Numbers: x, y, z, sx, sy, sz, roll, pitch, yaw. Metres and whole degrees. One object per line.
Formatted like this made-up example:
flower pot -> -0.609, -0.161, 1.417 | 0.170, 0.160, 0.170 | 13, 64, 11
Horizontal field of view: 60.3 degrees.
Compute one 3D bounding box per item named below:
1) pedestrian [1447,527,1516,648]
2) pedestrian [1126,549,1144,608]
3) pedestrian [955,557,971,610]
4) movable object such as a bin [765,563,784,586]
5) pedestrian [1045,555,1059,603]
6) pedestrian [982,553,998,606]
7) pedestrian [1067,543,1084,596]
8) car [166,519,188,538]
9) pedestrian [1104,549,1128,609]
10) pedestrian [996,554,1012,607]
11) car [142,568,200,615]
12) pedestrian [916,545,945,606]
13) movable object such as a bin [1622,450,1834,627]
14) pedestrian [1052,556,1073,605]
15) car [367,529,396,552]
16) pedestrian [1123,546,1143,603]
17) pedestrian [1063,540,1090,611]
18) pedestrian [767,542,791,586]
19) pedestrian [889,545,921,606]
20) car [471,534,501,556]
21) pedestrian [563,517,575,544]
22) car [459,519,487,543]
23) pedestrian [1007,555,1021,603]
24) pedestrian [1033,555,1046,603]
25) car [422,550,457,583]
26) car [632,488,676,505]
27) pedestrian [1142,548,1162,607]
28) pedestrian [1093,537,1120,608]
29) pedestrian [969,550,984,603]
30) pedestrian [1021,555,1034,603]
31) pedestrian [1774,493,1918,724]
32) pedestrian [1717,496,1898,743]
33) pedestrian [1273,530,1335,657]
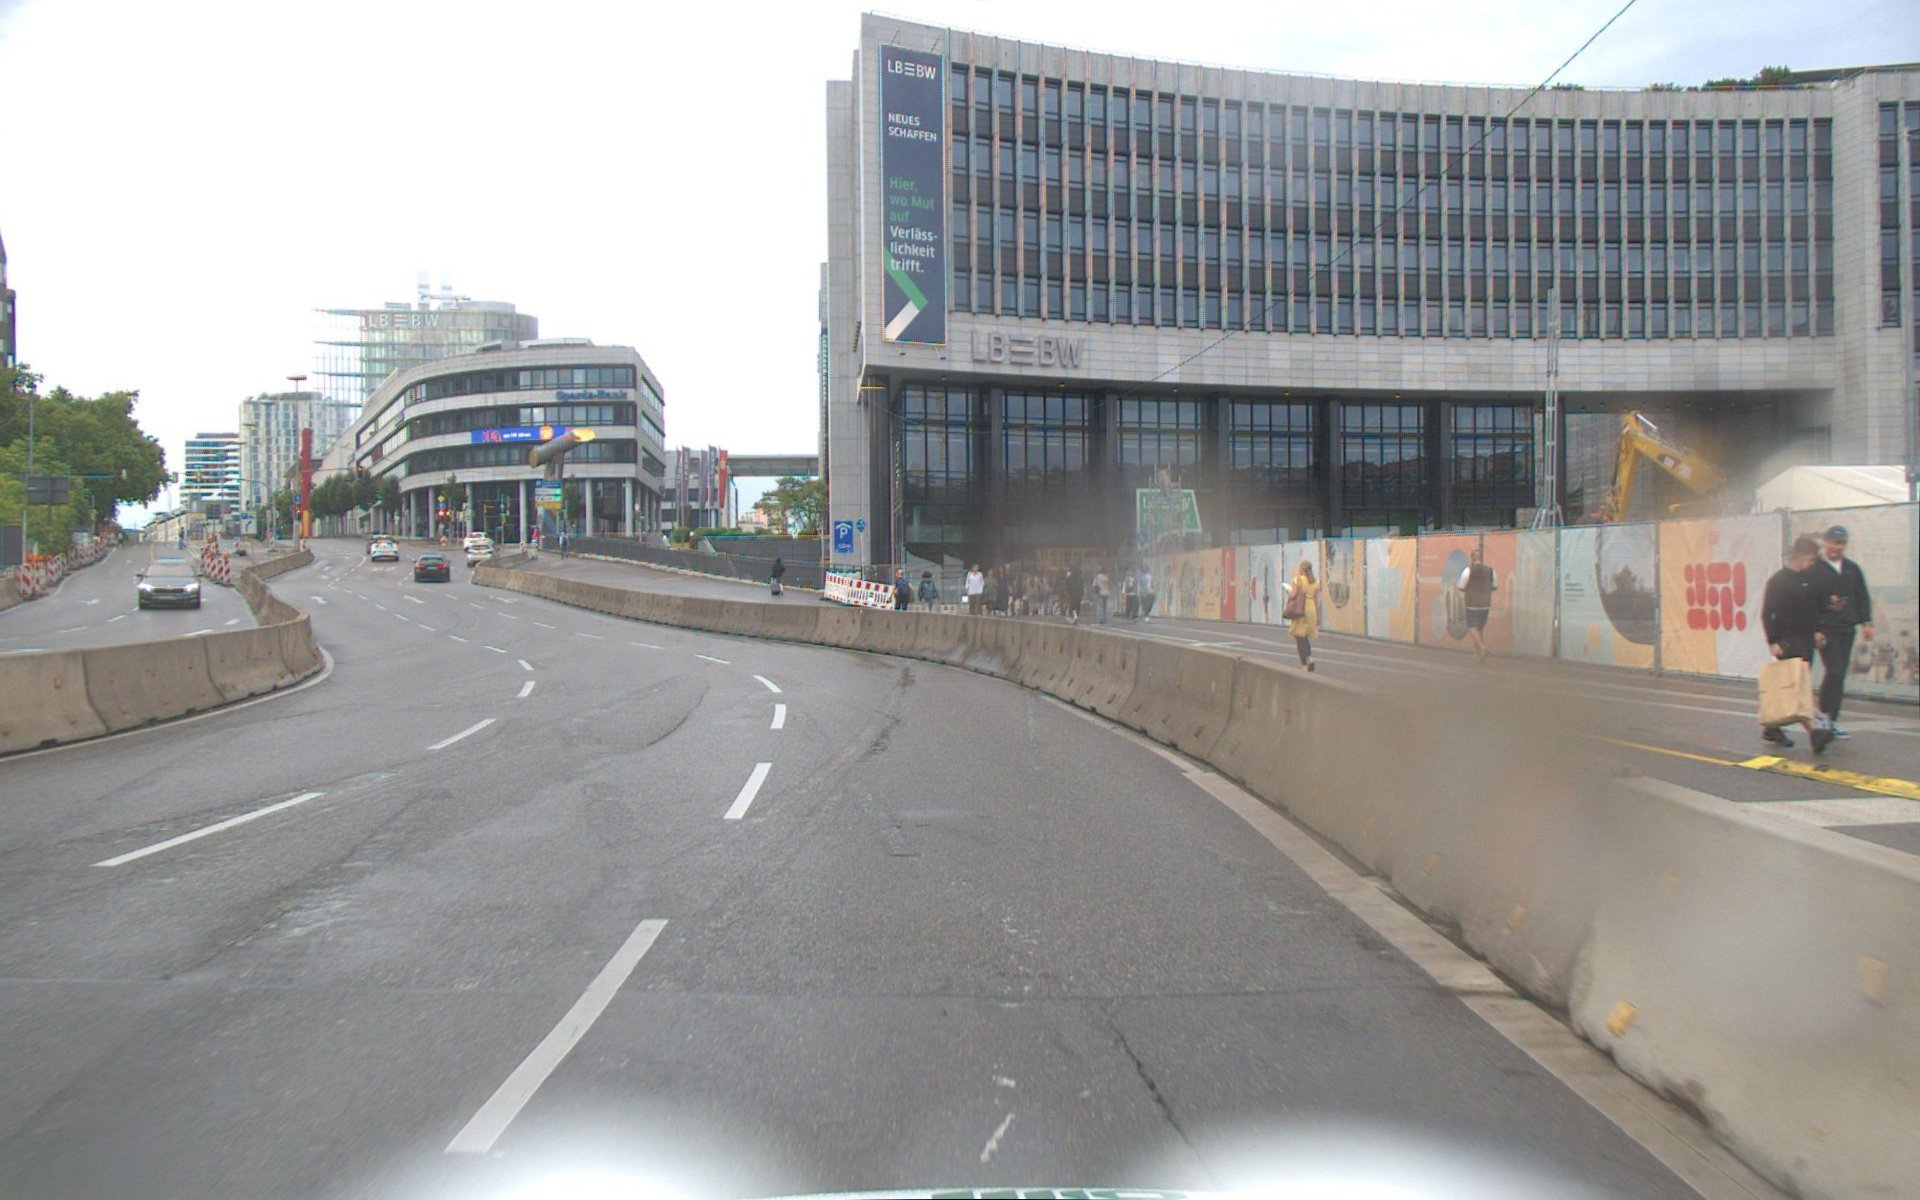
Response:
pedestrian -> 8.391, -0.213, 26.630 | 0.764, 1.894, 0.810 | -2, 1, -6
pedestrian -> 5.140, -0.635, 48.627 | 0.439, 1.734, 0.646 | 0, 2, -3
pedestrian -> 0.086, -0.549, 54.397 | 0.439, 1.734, 0.646 | -1, 2, -7
movable object such as a bin -> -7.821, -1.080, 69.656 | 0.590, 0.950, 0.737 | 0, 1, -23
pedestrian -> 3.327, -0.760, 59.869 | 0.438, 1.734, 0.647 | 0, 2, 7
pedestrian -> 0.985, -0.699, 54.659 | 0.445, 1.734, 0.646 | -1, 2, -7
pedestrian -> 3.995, -1.066, 57.375 | 0.518, 1.850, 0.536 | 0, 1, -2
car -> -67.615, -6.132, 142.870 | 1.580, 1.376, 3.727 | 0, -1, -23
pedestrian -> 4.588, -0.620, 48.614 | 0.613, 1.734, 0.646 | 0, 2, -3
pedestrian -> 1.447, -0.637, 54.770 | 0.439, 1.734, 0.646 | -1, 2, -7
car -> -25.174, -0.237, 52.750 | 1.583, 1.376, 3.720 | 0, -1, -27
pedestrian -> -0.823, -0.689, 45.874 | 0.647, 1.670, 0.820 | -1, 1, -14
movable object such as a bin -> 18.807, -1.460, 40.634 | 3.048, 4.100, 3.668 | -1, 1, -25
pedestrian -> 3.633, -0.708, 58.819 | 0.508, 1.734, 0.566 | -2, 2, -39
car -> -39.291, -4.023, 112.288 | 1.717, 1.532, 3.729 | -1, 1, -22
pedestrian -> 5.307, -0.788, 50.722 | 0.490, 1.734, 0.732 | 0, 2, -3
pedestrian -> 3.384, -0.723, 48.149 | 0.767, 2.048, 0.863 | 0, 2, 5
pedestrian -> -7.674, -1.523, 70.089 | 0.746, 1.821, 1.050 | -1, 1, -23
pedestrian -> -1.522, -0.682, 45.703 | 0.738, 1.670, 0.820 | -1, 1, -14
car -> -30.153, -3.492, 105.200 | 1.795, 1.376, 3.849 | -1, 2, -16
pedestrian -> -26.288, -4.663, 111.190 | 0.612, 1.795, 0.590 | 0, 2, 0
car -> -37.689, -5.346, 128.011 | 1.961, 1.835, 4.248 | -1, 2, -16
pedestrian -> 1.959, -0.753, 59.992 | 0.438, 1.734, 0.647 | 0, 2, 7
pedestrian -> 2.876, -0.755, 59.920 | 0.438, 1.734, 0.647 | 0, 2, 7
car -> -27.326, -1.736, 86.908 | 1.647, 1.534, 3.729 | -1, -1, -16
car -> -26.722, -9.040, 144.560 | 1.595, 1.459, 3.726 | 1, 3, 37
pedestrian -> 5.653, -0.667, 48.718 | 0.492, 1.734, 0.646 | 0, 2, -3
pedestrian -> 4.239, -0.806, 47.906 | 0.767, 2.048, 0.863 | 0, 2, 5
pedestrian -> 0.541, -0.769, 54.461 | 0.439, 1.734, 0.646 | -1, 2, -7
pedestrian -> 2.445, -0.773, 59.937 | 0.438, 1.734, 0.647 | 0, 2, 7
pedestrian -> 7.493, 0.059, 14.021 | 0.764, 1.894, 0.810 | -1, 1, -6
pedestrian -> 6.717, 0.136, 13.162 | 0.803, 1.859, 1.110 | -2, 1, -4
pedestrian -> 5.220, -0.104, 25.137 | 0.718, 1.886, 0.831 | -1, 1, -4
